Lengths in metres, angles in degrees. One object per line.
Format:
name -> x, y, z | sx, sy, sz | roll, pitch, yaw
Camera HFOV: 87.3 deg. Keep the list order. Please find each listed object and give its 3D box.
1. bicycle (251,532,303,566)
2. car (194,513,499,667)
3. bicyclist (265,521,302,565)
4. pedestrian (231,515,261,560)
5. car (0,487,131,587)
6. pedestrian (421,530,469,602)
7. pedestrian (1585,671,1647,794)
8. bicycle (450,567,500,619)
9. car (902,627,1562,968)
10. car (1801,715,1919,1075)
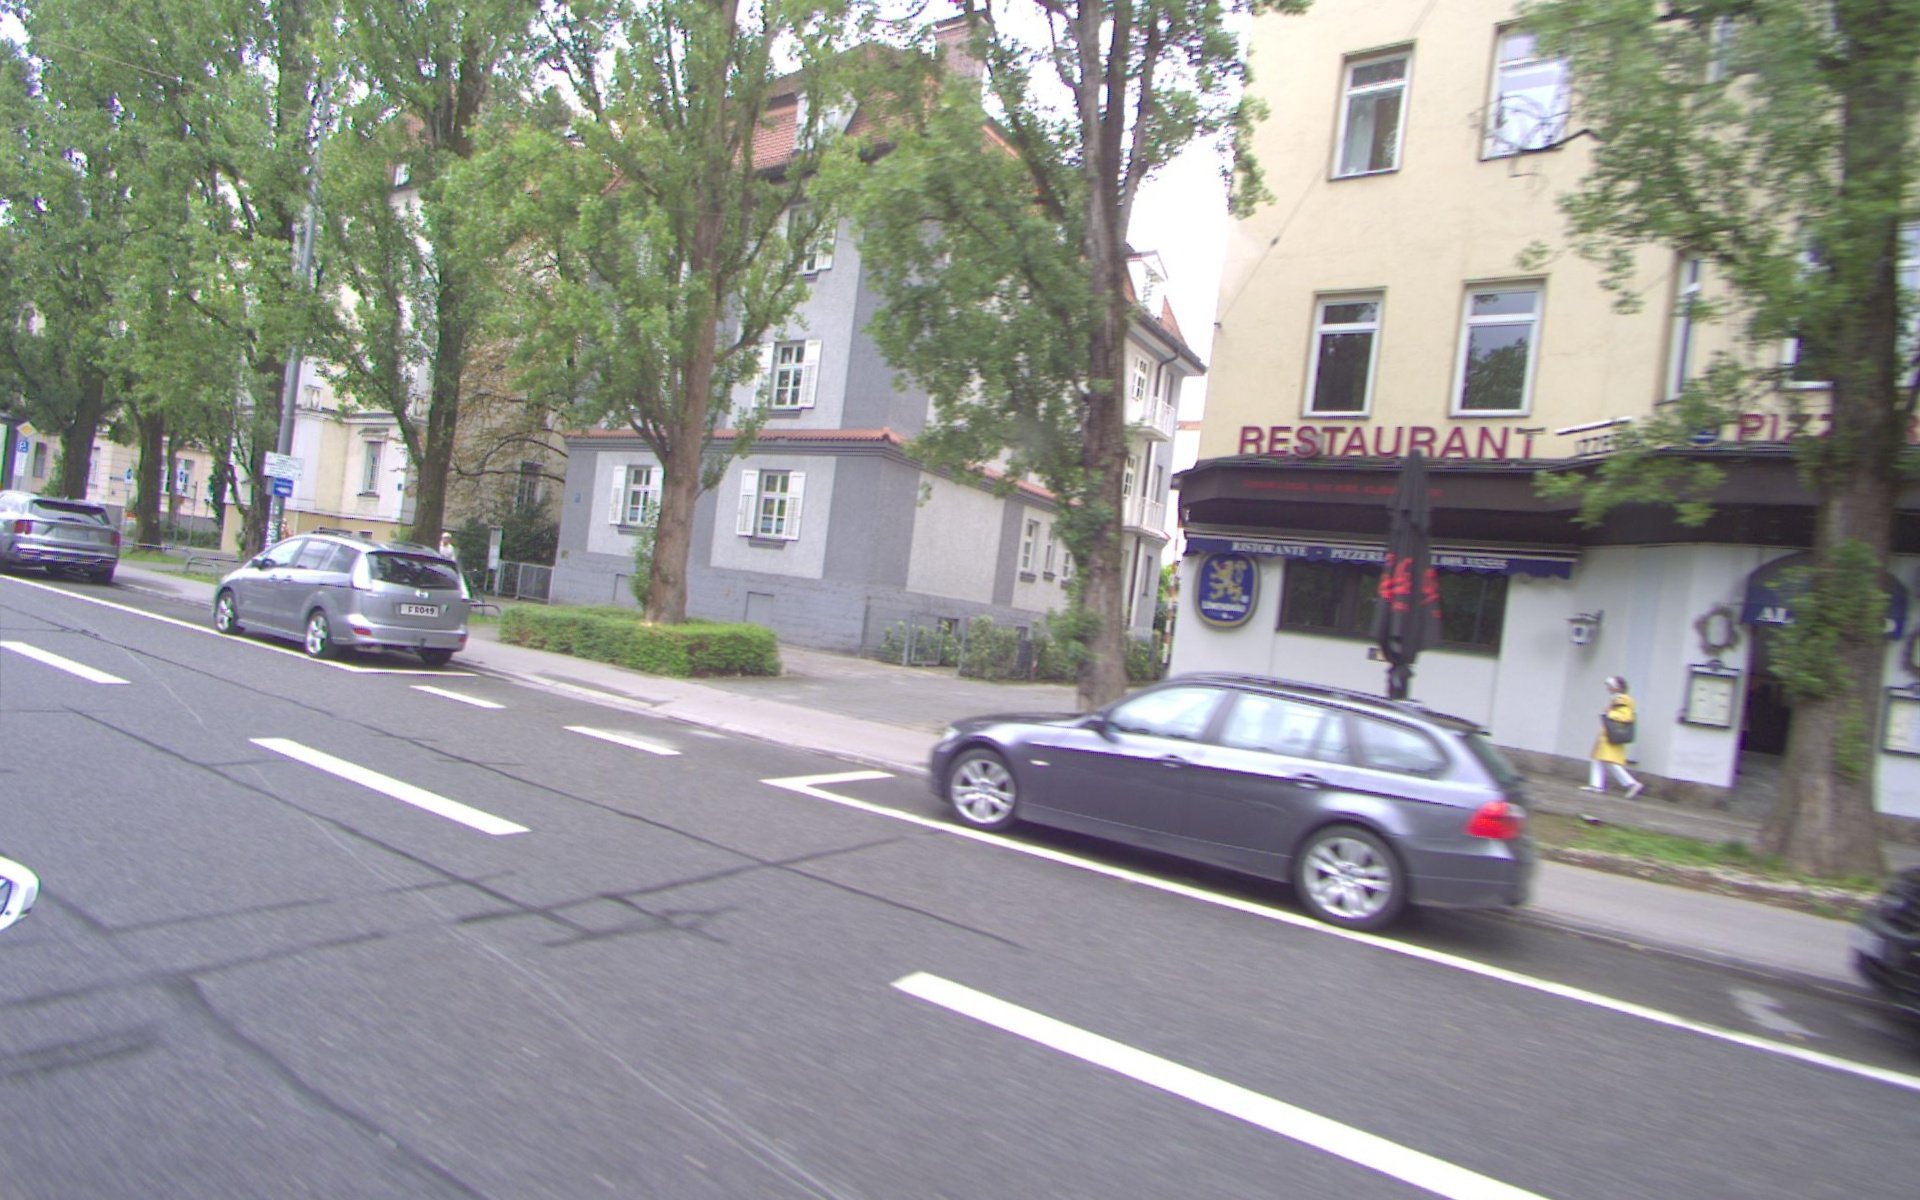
bicycle -> -22.389, -1.674, 32.972 | 1.871, 0.934, 0.653 | 7, 0, 32
car -> -8.801, -0.169, 14.319 | 4.472, 1.632, 1.801 | 7, 0, 32
bicyclist -> -22.033, -1.855, 32.775 | 0.694, 1.331, 0.661 | 7, 1, 31
pedestrian -> -26.956, -2.376, 37.987 | 0.726, 1.566, 0.553 | 9, 1, 32
car -> -19.773, -1.435, 21.425 | 4.623, 1.764, 1.801 | 7, 0, 32
pedestrian -> -13.560, -0.897, 26.476 | 0.810, 1.760, 0.592 | 9, 1, 33
pedestrian -> 8.992, 1.812, 13.808 | 0.487, 1.581, 0.573 | 9, 1, 33
bicycle -> -10.914, -0.160, 22.624 | 1.208, 1.000, 0.355 | 9, 1, 33
car -> 1.904, 1.197, 7.513 | 4.309, 1.416, 1.801 | 7, 0, 32
car -> 6.694, 1.674, 4.418 | 4.234, 1.632, 1.801 | 7, 0, 32
